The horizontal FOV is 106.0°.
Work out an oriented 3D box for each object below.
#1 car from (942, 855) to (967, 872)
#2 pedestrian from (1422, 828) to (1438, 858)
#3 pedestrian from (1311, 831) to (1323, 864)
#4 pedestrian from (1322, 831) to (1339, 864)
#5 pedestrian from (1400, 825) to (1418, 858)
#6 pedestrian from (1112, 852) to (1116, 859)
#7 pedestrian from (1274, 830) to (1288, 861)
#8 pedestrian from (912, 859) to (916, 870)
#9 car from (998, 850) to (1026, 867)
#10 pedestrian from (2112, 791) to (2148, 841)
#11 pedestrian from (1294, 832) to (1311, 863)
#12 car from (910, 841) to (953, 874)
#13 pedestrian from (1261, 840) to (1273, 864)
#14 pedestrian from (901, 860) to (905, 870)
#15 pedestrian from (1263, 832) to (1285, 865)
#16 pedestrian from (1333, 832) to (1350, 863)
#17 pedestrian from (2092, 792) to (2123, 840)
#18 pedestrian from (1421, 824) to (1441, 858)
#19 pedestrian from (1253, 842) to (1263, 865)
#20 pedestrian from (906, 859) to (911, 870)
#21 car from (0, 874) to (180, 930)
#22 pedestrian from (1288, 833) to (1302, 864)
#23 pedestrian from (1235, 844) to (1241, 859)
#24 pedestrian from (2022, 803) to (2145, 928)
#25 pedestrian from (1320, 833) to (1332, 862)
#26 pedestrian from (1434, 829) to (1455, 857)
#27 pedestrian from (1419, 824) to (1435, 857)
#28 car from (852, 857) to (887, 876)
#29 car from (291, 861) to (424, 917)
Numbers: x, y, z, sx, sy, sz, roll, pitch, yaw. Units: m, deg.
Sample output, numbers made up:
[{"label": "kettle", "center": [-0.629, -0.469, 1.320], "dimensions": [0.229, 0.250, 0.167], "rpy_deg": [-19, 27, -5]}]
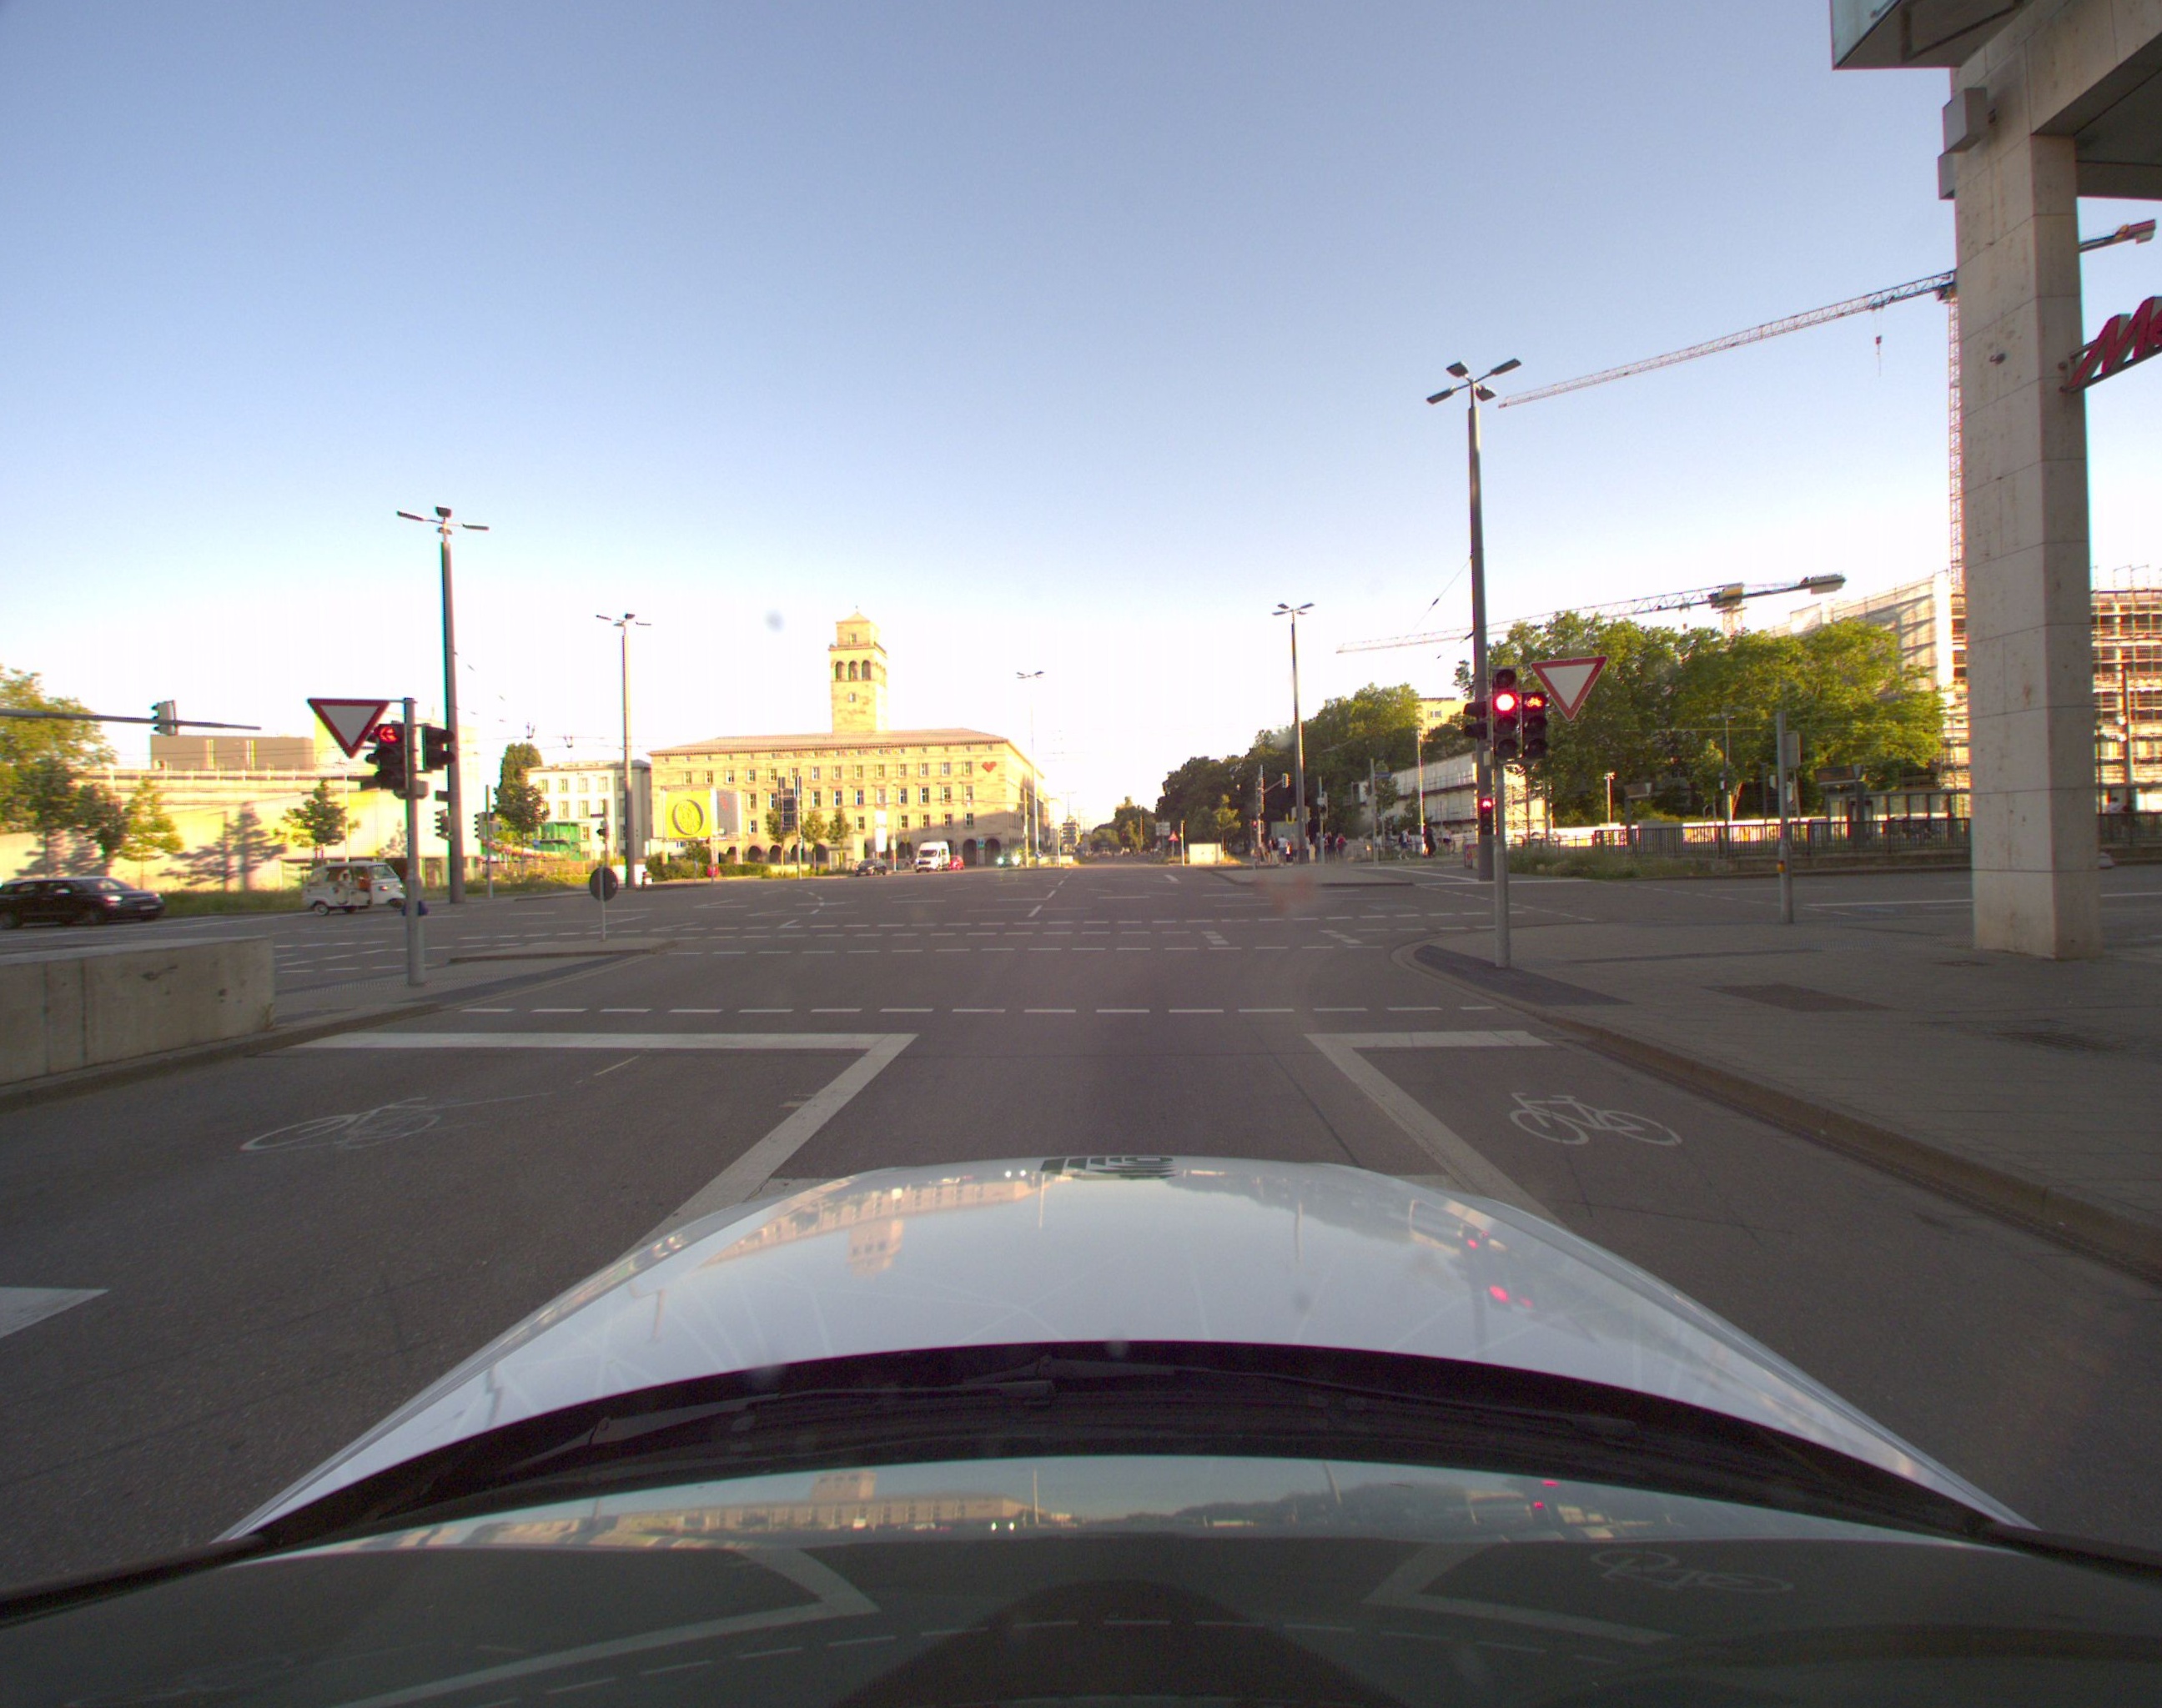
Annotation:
[{"label": "car", "center": [-12.632, 0.939, 81.669], "dimensions": [1.732, 1.487, 4.002], "rpy_deg": [-2, 1, 2]}, {"label": "pedestrian", "center": [19.051, -0.583, 44.475], "dimensions": [0.569, 1.592, 0.537], "rpy_deg": [-2, 0, 1]}, {"label": "pedestrian", "center": [13.199, -0.357, 45.515], "dimensions": [0.568, 1.791, 0.641], "rpy_deg": [-2, 1, 16]}, {"label": "pedestrian", "center": [13.924, -0.355, 45.477], "dimensions": [0.799, 1.791, 0.804], "rpy_deg": [-2, 1, 16]}, {"label": "pedestrian", "center": [17.564, -0.683, 43.599], "dimensions": [0.664, 1.725, 0.713], "rpy_deg": [-2, 0, 0]}, {"label": "pedestrian", "center": [7.963, 0.323, 194.822], "dimensions": [0.903, 1.671, 1.307], "rpy_deg": [-2, 1, 1]}, {"label": "pedestrian", "center": [11.249, -0.465, 45.793], "dimensions": [0.706, 1.725, 0.671], "rpy_deg": [-2, 1, 13]}, {"label": "pedestrian", "center": [-19.767, 1.289, 96.403], "dimensions": [0.420, 1.300, 0.459], "rpy_deg": [0, -1, -3]}, {"label": "car", "center": [-6.166, 0.398, 72.958], "dimensions": [1.815, 1.341, 4.005], "rpy_deg": [-2, 1, 4]}, {"label": "pedestrian", "center": [43.263, -1.564, 33.597], "dimensions": [0.623, 2.013, 0.642], "rpy_deg": [-2, 0, -2]}, {"label": "pedestrian", "center": [12.651, -0.392, 46.532], "dimensions": [0.906, 1.725, 0.715], "rpy_deg": [-2, 1, 12]}, {"label": "car", "center": [-13.285, 0.239, 72.981], "dimensions": [2.269, 2.776, 6.090], "rpy_deg": [-2, 0, 4]}, {"label": "pedestrian", "center": [13.788, -0.178, 60.474], "dimensions": [0.673, 1.757, 0.907], "rpy_deg": [-2, 1, 22]}, {"label": "pedestrian", "center": [-21.175, 1.308, 96.922], "dimensions": [0.473, 1.300, 0.463], "rpy_deg": [0, -1, -4]}, {"label": "pedestrian", "center": [10.518, -0.306, 44.324], "dimensions": [0.903, 1.725, 0.717], "rpy_deg": [-1, 1, 41]}, {"label": "pedestrian", "center": [14.675, -0.368, 45.861], "dimensions": [0.838, 1.734, 0.708], "rpy_deg": [-2, 1, 14]}, {"label": "pedestrian", "center": [43.174, -1.591, 34.255], "dimensions": [0.573, 2.013, 0.568], "rpy_deg": [-2, 0, -2]}, {"label": "pedestrian", "center": [18.006, -0.685, 41.881], "dimensions": [0.665, 1.725, 0.712], "rpy_deg": [-2, 0, -3]}, {"label": "pedestrian", "center": [13.205, -0.039, 60.705], "dimensions": [0.555, 1.654, 0.907], "rpy_deg": [-2, 1, 22]}, {"label": "pedestrian", "center": [-20.546, 1.216, 96.837], "dimensions": [0.504, 1.300, 0.700], "rpy_deg": [0, -1, -3]}, {"label": "car", "center": [-33.421, 1.594, 27.322], "dimensions": [4.113, 1.604, 1.742], "rpy_deg": [-2, 0, -5]}, {"label": "pedestrian", "center": [11.953, -0.307, 45.543], "dimensions": [0.705, 1.725, 0.671], "rpy_deg": [-2, 1, 15]}, {"label": "pedestrian", "center": [18.252, -0.297, 94.836], "dimensions": [0.638, 1.760, 0.526], "rpy_deg": [-2, 1, 10]}, {"label": "pedestrian", "center": [13.821, 0.154, 11.252], "dimensions": [0.787, 1.638, 0.708], "rpy_deg": [-2, 0, 3]}, {"label": "pedestrian", "center": [14.116, -0.367, 46.954], "dimensions": [0.568, 1.678, 0.641], "rpy_deg": [-2, 1, 16]}, {"label": "pedestrian", "center": [19.340, -0.599, 43.303], "dimensions": [0.714, 1.441, 0.674], "rpy_deg": [-2, 0, -18]}, {"label": "pedestrian", "center": [18.206, -0.720, 42.850], "dimensions": [0.705, 1.725, 0.672], "rpy_deg": [-2, 0, 19]}, {"label": "car", "center": [-18.375, 1.063, 70.905], "dimensions": [1.817, 1.466, 4.158], "rpy_deg": [-2, 1, 0]}, {"label": "car", "center": [-24.456, 1.160, 27.633], "dimensions": [2.968, 1.696, 1.481], "rpy_deg": [-2, 0, -14]}]
